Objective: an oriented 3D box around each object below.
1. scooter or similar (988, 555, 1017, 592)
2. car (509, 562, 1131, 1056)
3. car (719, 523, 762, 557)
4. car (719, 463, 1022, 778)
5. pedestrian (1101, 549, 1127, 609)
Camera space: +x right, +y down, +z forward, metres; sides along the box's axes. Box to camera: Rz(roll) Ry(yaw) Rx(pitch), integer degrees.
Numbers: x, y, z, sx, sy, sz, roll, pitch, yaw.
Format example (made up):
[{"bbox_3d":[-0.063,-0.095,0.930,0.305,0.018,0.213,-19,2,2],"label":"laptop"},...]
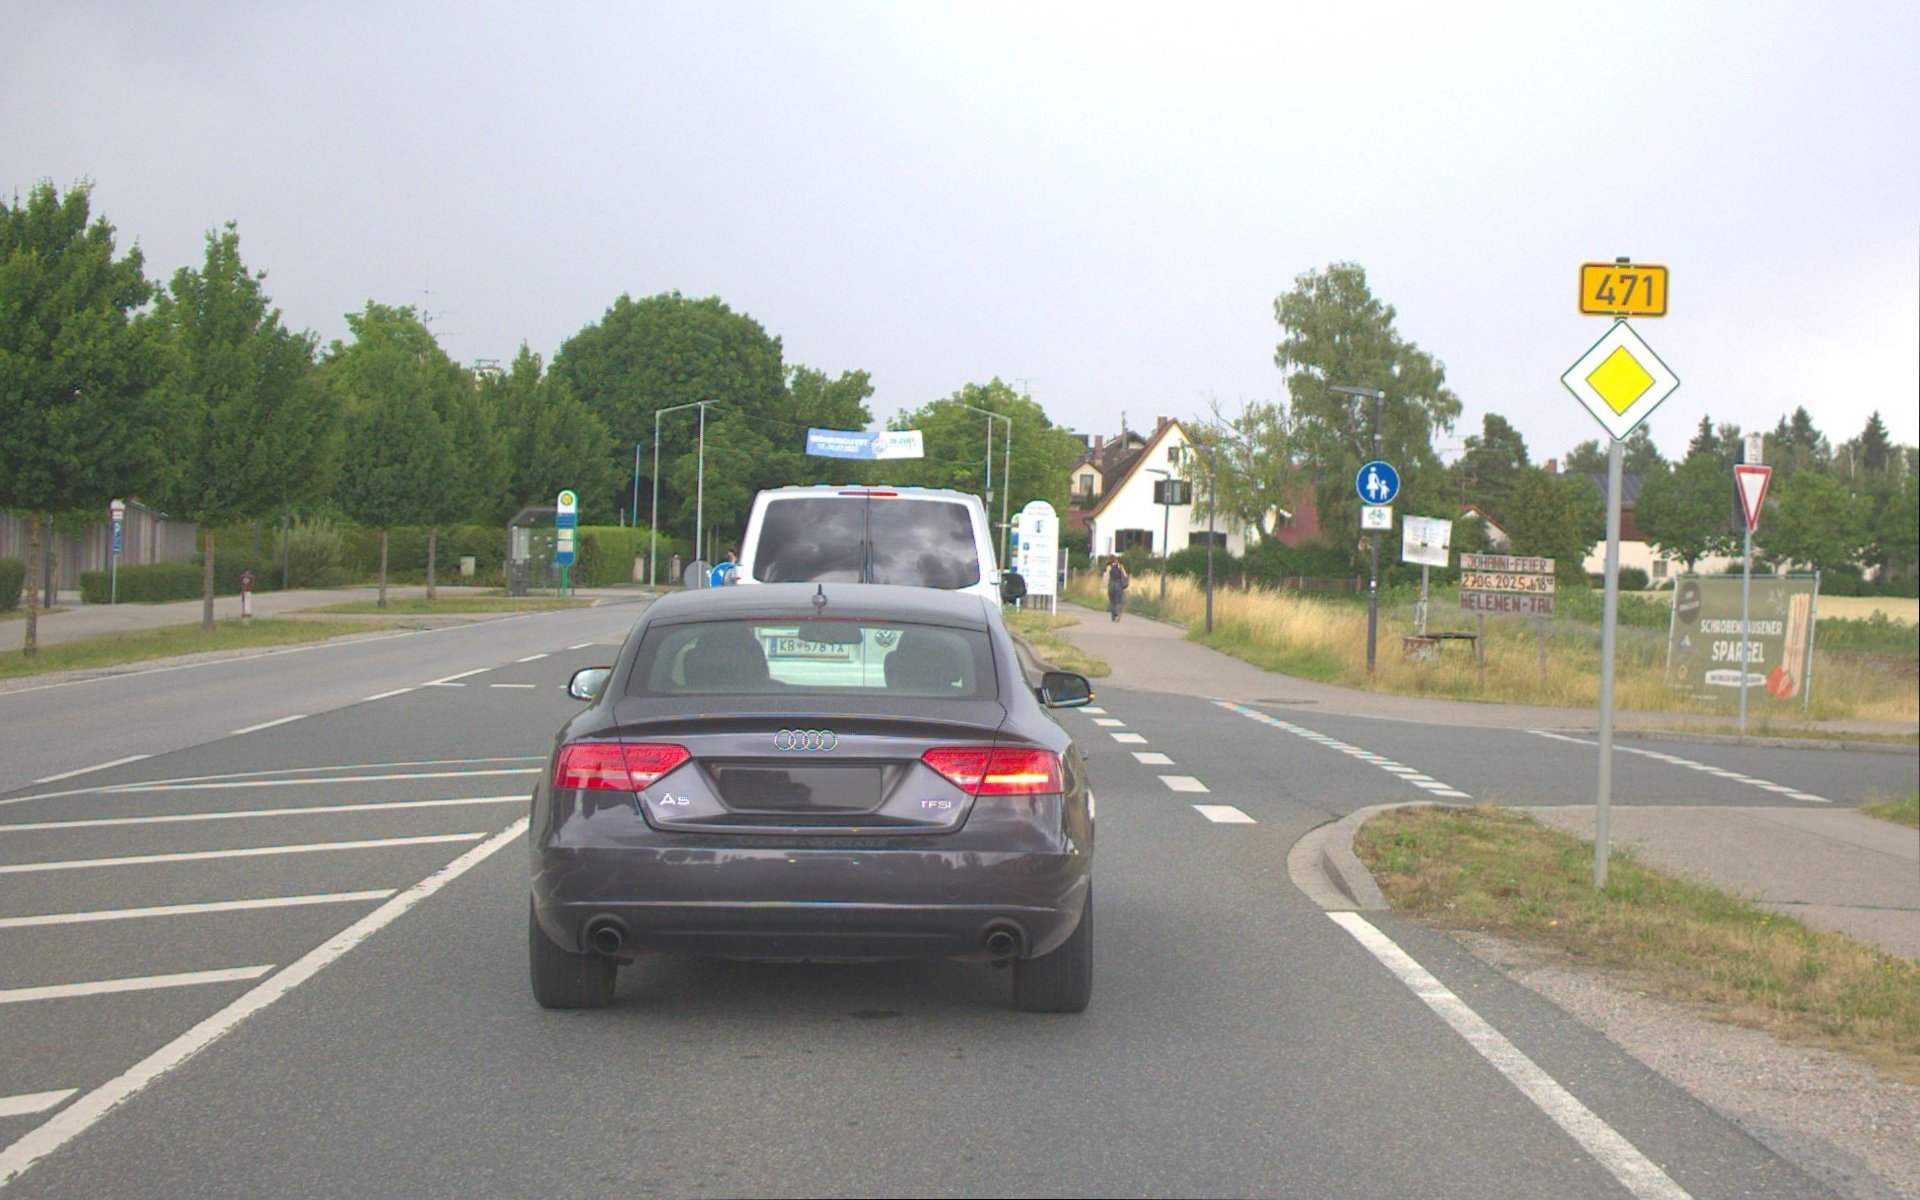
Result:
[{"bbox_3d":[1.283,-0.816,103.915,0.848,1.100,1.094,0,1,0],"label":"scooter or similar"},{"bbox_3d":[-0.591,0.585,12.290,1.825,1.384,4.388,0,1,-5],"label":"car"},{"bbox_3d":[-9.275,-2.547,145.448,1.653,1.424,3.602,0,1,-1],"label":"car"},{"bbox_3d":[-0.637,0.088,23.741,1.825,1.907,4.001,3,1,-2],"label":"car"},{"bbox_3d":[3.936,-0.536,88.109,0.623,1.519,0.680,0,1,-1],"label":"pedestrian"}]
